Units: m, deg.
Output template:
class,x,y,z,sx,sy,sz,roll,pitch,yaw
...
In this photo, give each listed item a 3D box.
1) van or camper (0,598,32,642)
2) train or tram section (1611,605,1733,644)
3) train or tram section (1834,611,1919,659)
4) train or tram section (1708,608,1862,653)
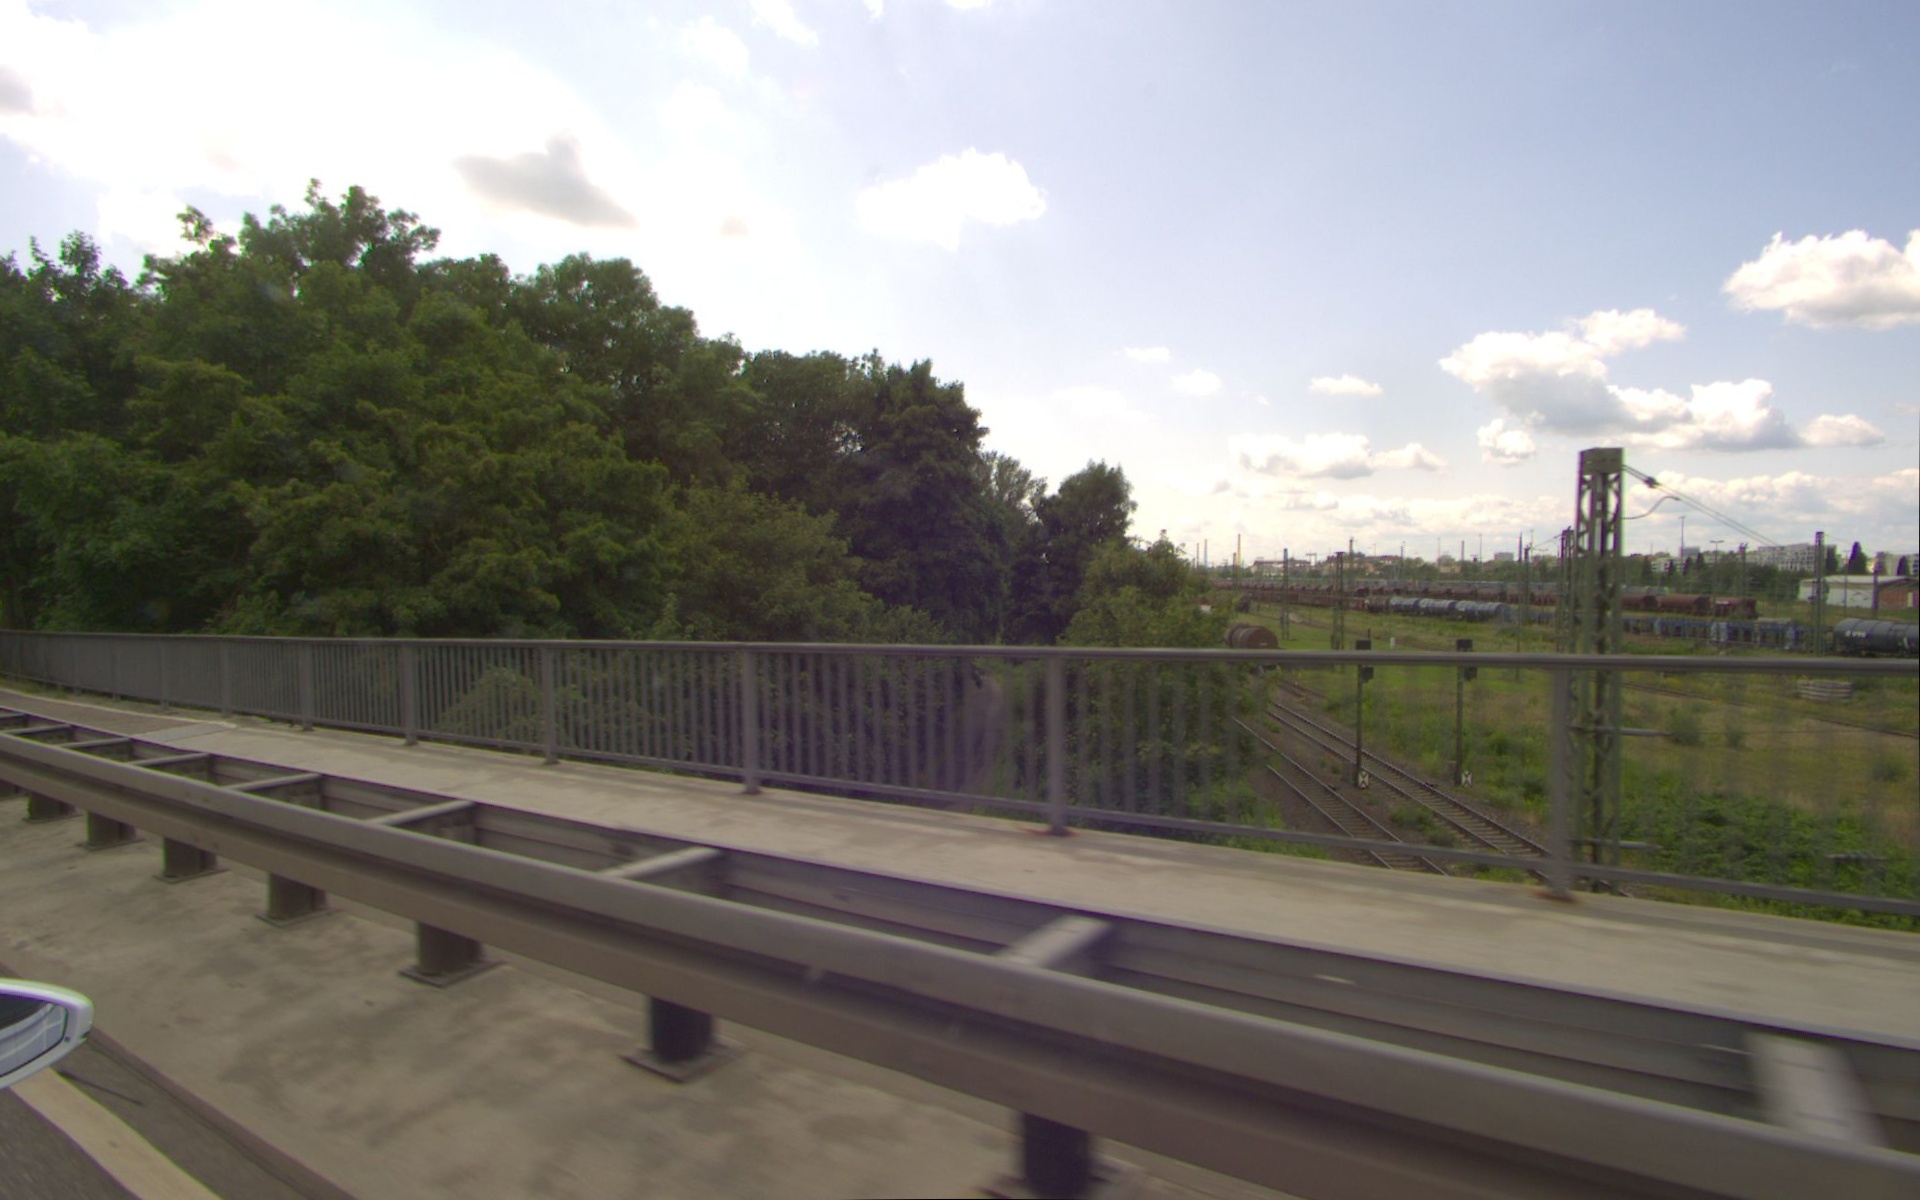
class,x,y,z,sx,sy,sz,roll,pitch,yaw
van or camper,-58.958,1.212,61.622,1.973,2.624,4.065,1,-1,-32
train or tram section,90.733,3.013,128.198,3.151,4.208,15.958,-3,1,-4
train or tram section,93.104,3.443,96.370,3.150,4.208,15.959,-3,1,-3
train or tram section,91.941,3.234,112.329,3.151,4.208,15.958,-3,1,-4
